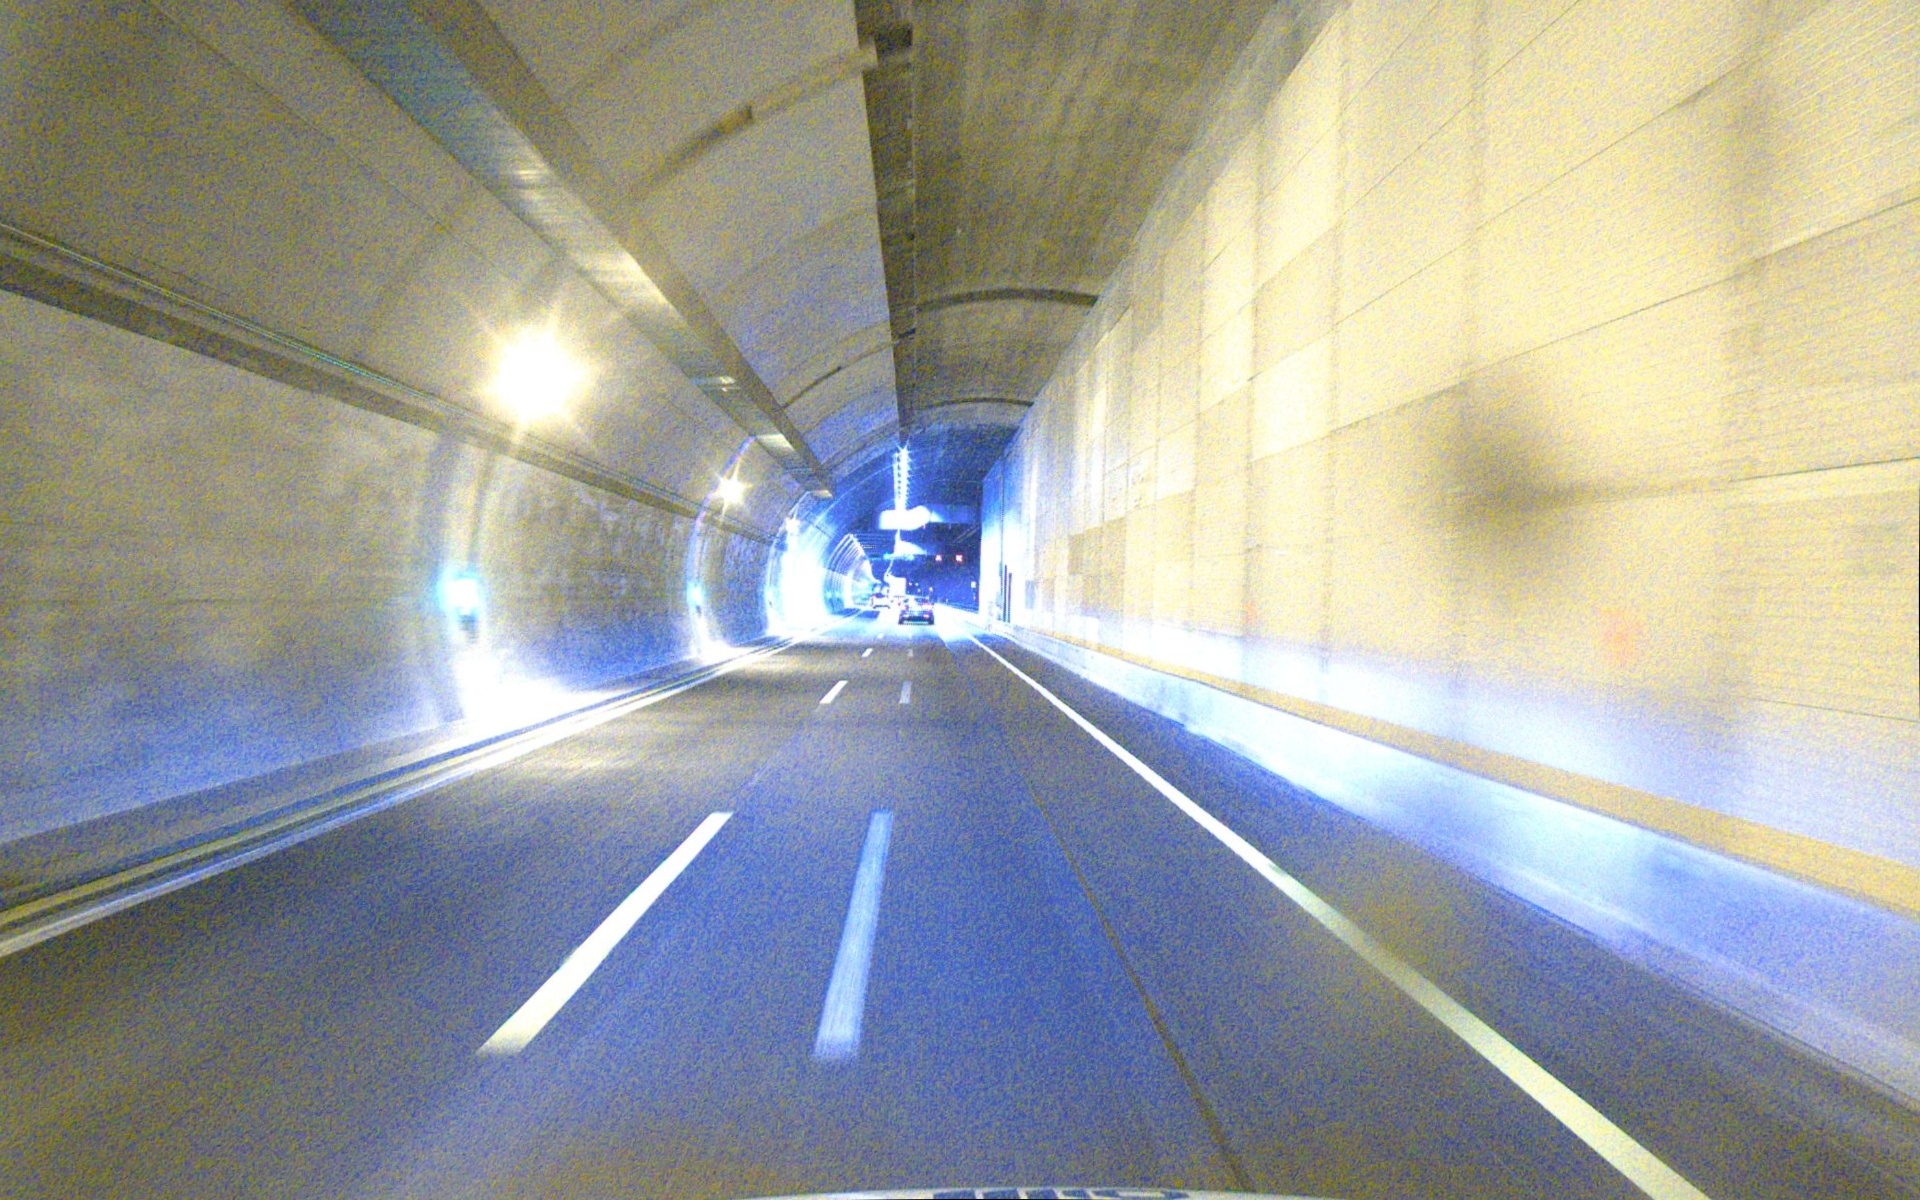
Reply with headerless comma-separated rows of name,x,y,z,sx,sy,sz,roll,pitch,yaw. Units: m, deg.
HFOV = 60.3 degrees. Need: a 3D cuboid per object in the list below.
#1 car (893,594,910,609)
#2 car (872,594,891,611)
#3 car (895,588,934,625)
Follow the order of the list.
car,-6.782,0.202,191.385,1.891,1.716,3.999,-1,0,-2
car,-8.089,0.226,169.735,1.892,1.716,3.997,-1,0,-4
car,-2.327,0.307,85.737,1.907,1.826,4.000,-1,0,-1
